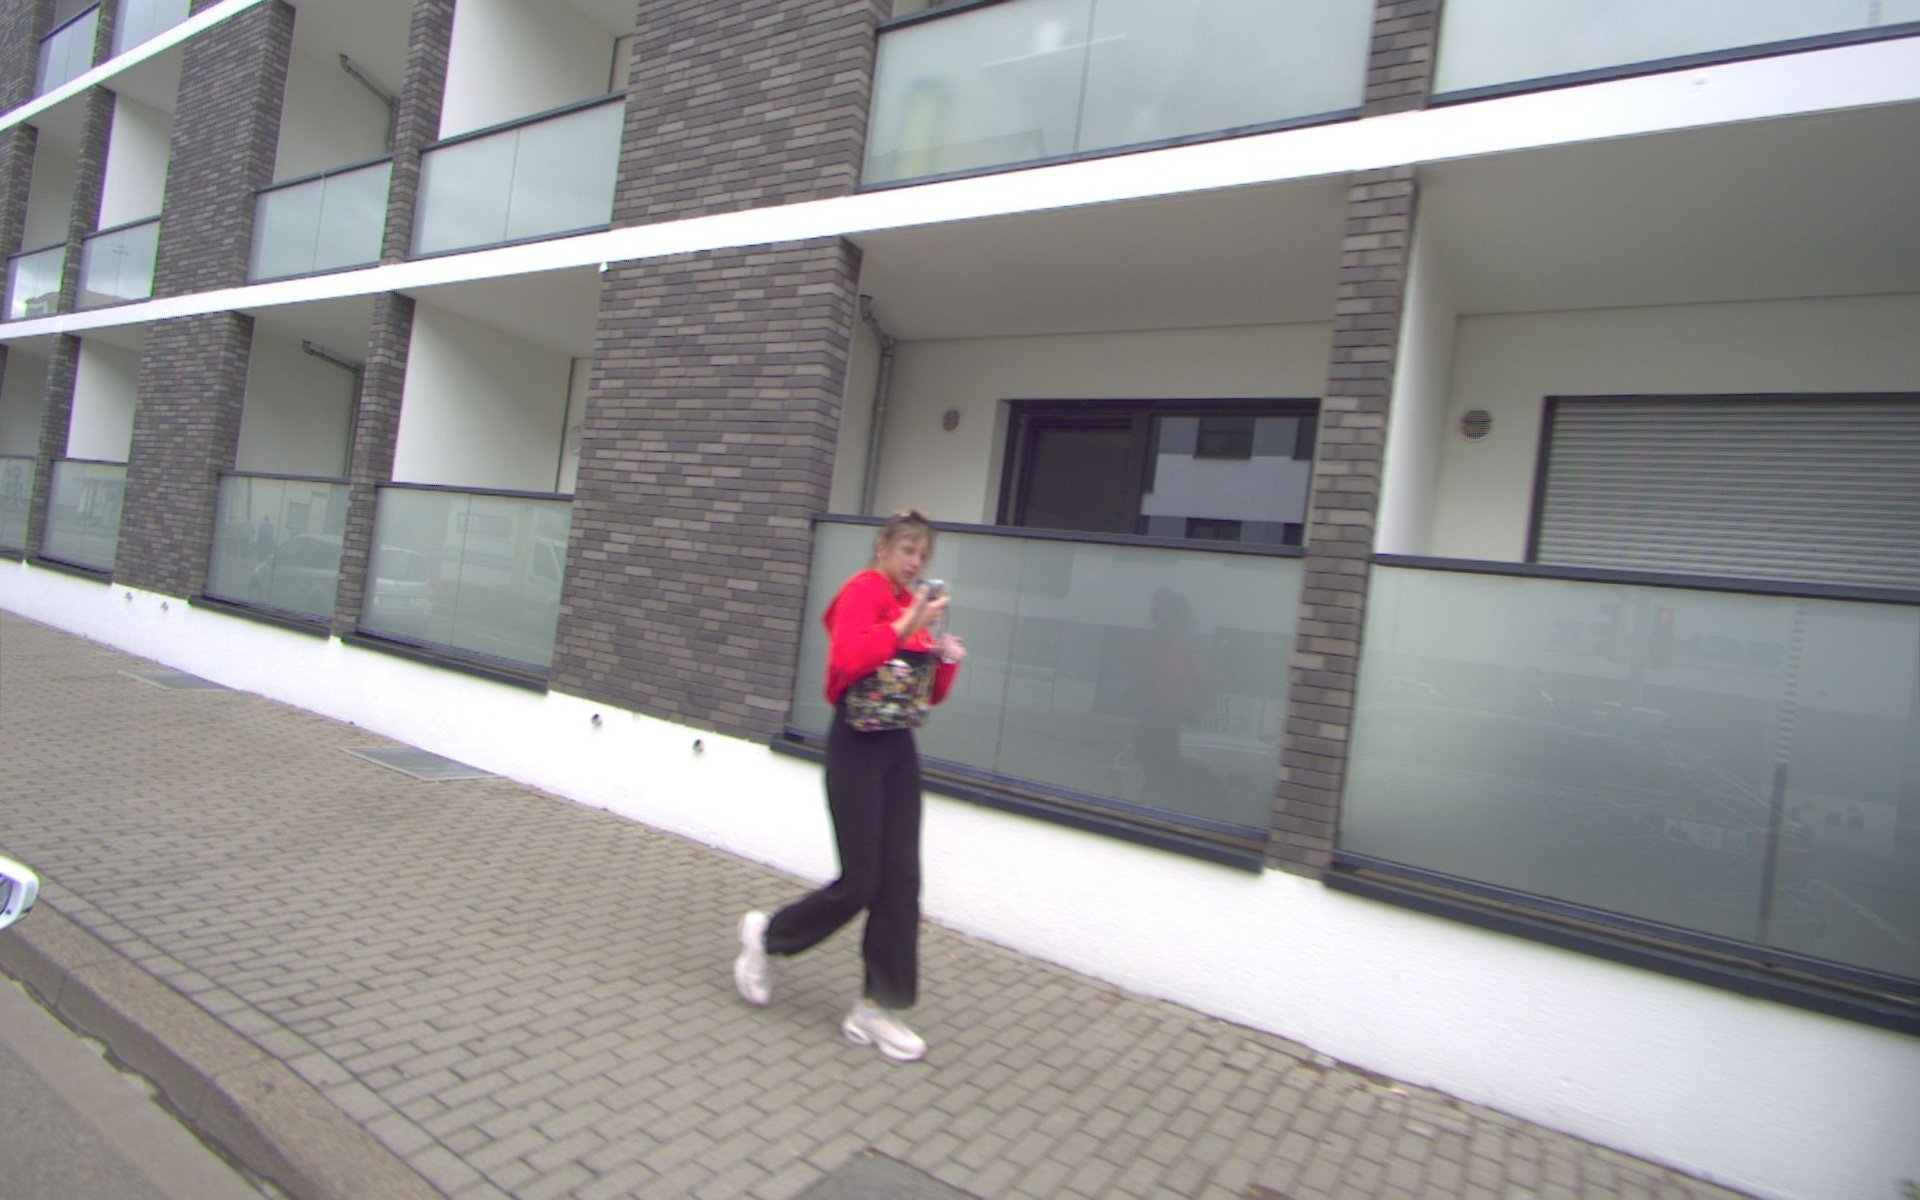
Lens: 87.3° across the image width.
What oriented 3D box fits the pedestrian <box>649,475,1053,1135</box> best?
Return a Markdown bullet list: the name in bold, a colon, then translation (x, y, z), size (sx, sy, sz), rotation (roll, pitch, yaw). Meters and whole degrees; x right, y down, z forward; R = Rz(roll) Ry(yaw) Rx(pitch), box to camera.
- **pedestrian**: translation (-0.347, 0.568, 3.344), size (0.847, 1.810, 0.808), rotation (8, 3, 32)
